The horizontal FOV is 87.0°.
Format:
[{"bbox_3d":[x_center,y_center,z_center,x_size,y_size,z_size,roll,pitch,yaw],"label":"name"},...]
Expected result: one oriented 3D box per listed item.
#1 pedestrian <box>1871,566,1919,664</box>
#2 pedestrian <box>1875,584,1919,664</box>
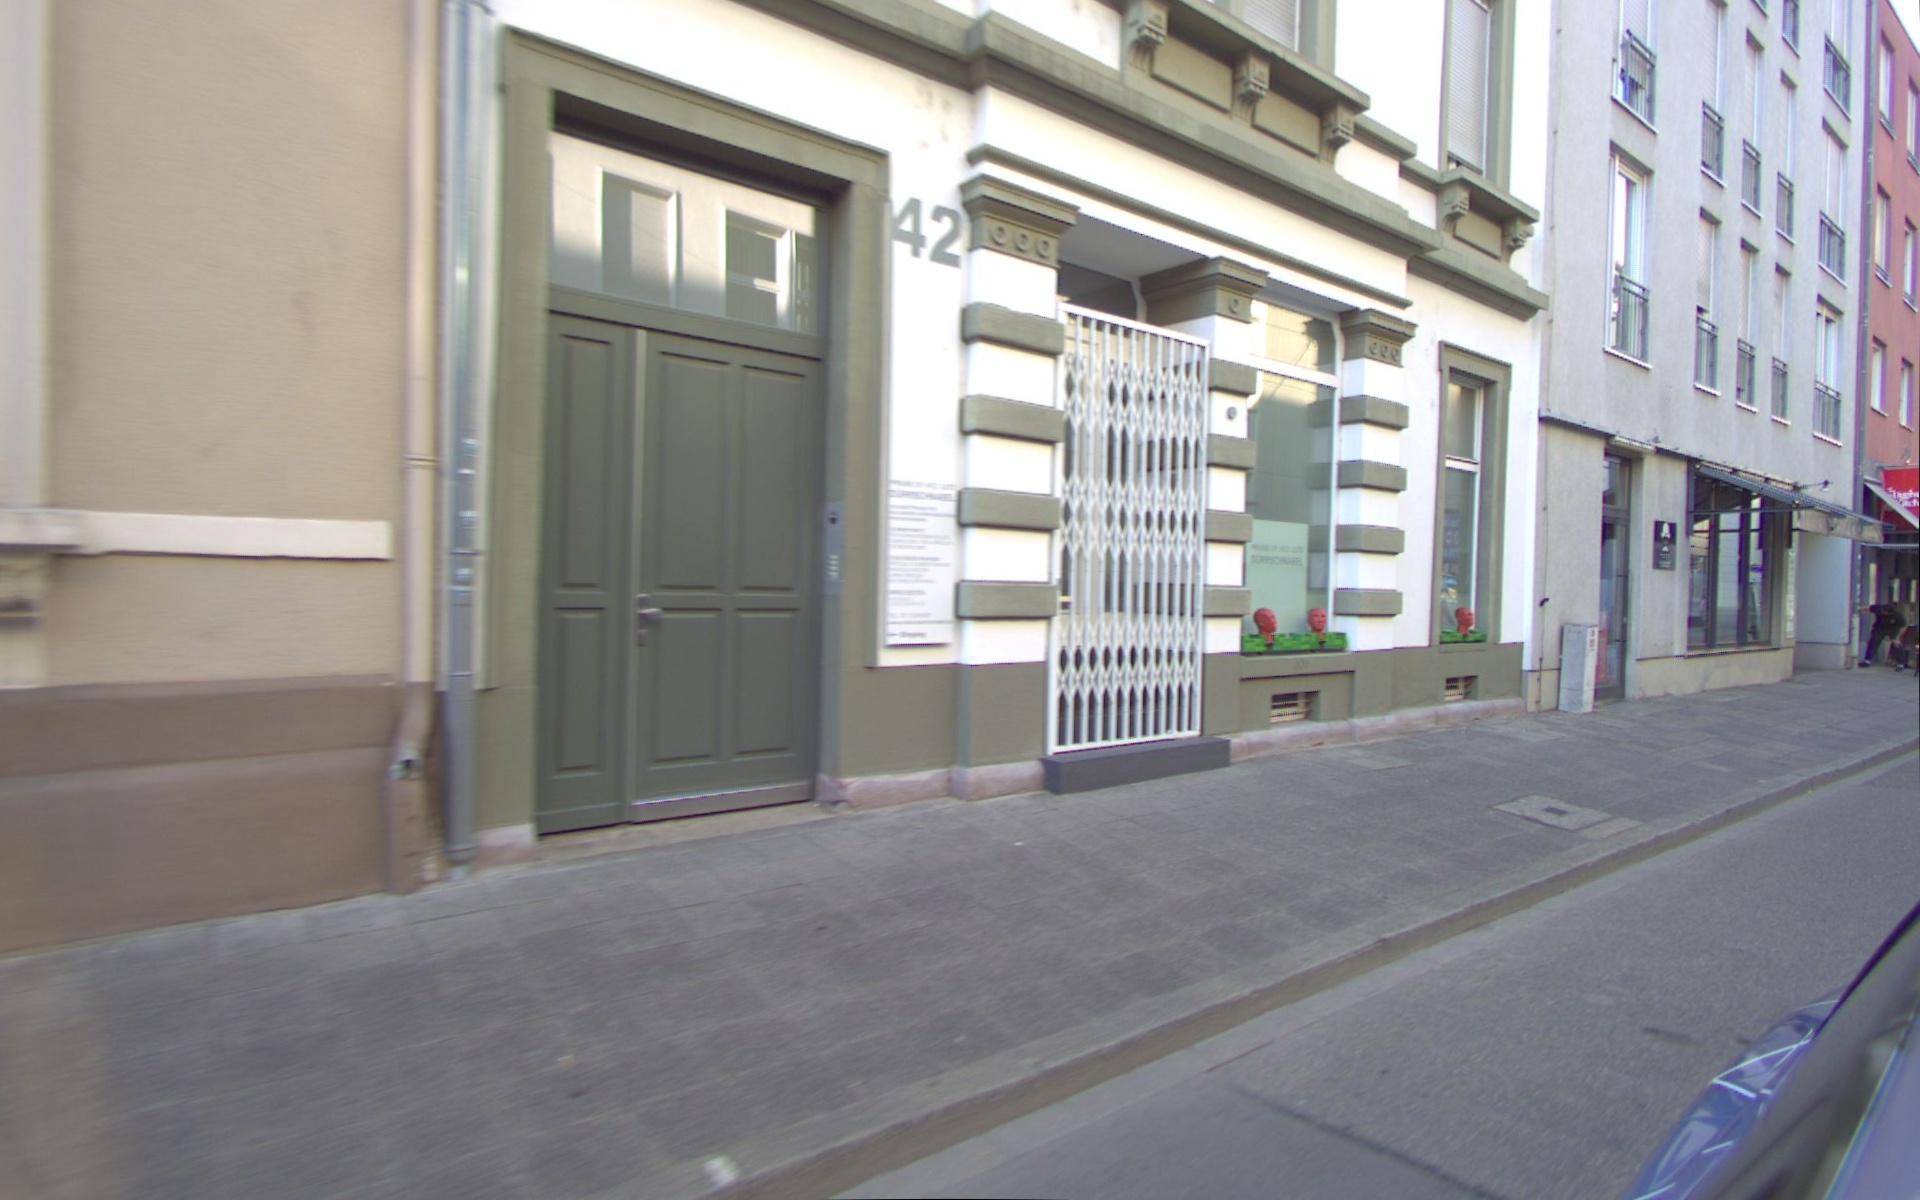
[{"bbox_3d":[18.226,0.282,19.520,0.653,1.814,0.725,4,4,24],"label":"pedestrian"},{"bbox_3d":[18.318,0.452,19.557,0.649,1.504,0.827,0,1,-38],"label":"pedestrian"}]
